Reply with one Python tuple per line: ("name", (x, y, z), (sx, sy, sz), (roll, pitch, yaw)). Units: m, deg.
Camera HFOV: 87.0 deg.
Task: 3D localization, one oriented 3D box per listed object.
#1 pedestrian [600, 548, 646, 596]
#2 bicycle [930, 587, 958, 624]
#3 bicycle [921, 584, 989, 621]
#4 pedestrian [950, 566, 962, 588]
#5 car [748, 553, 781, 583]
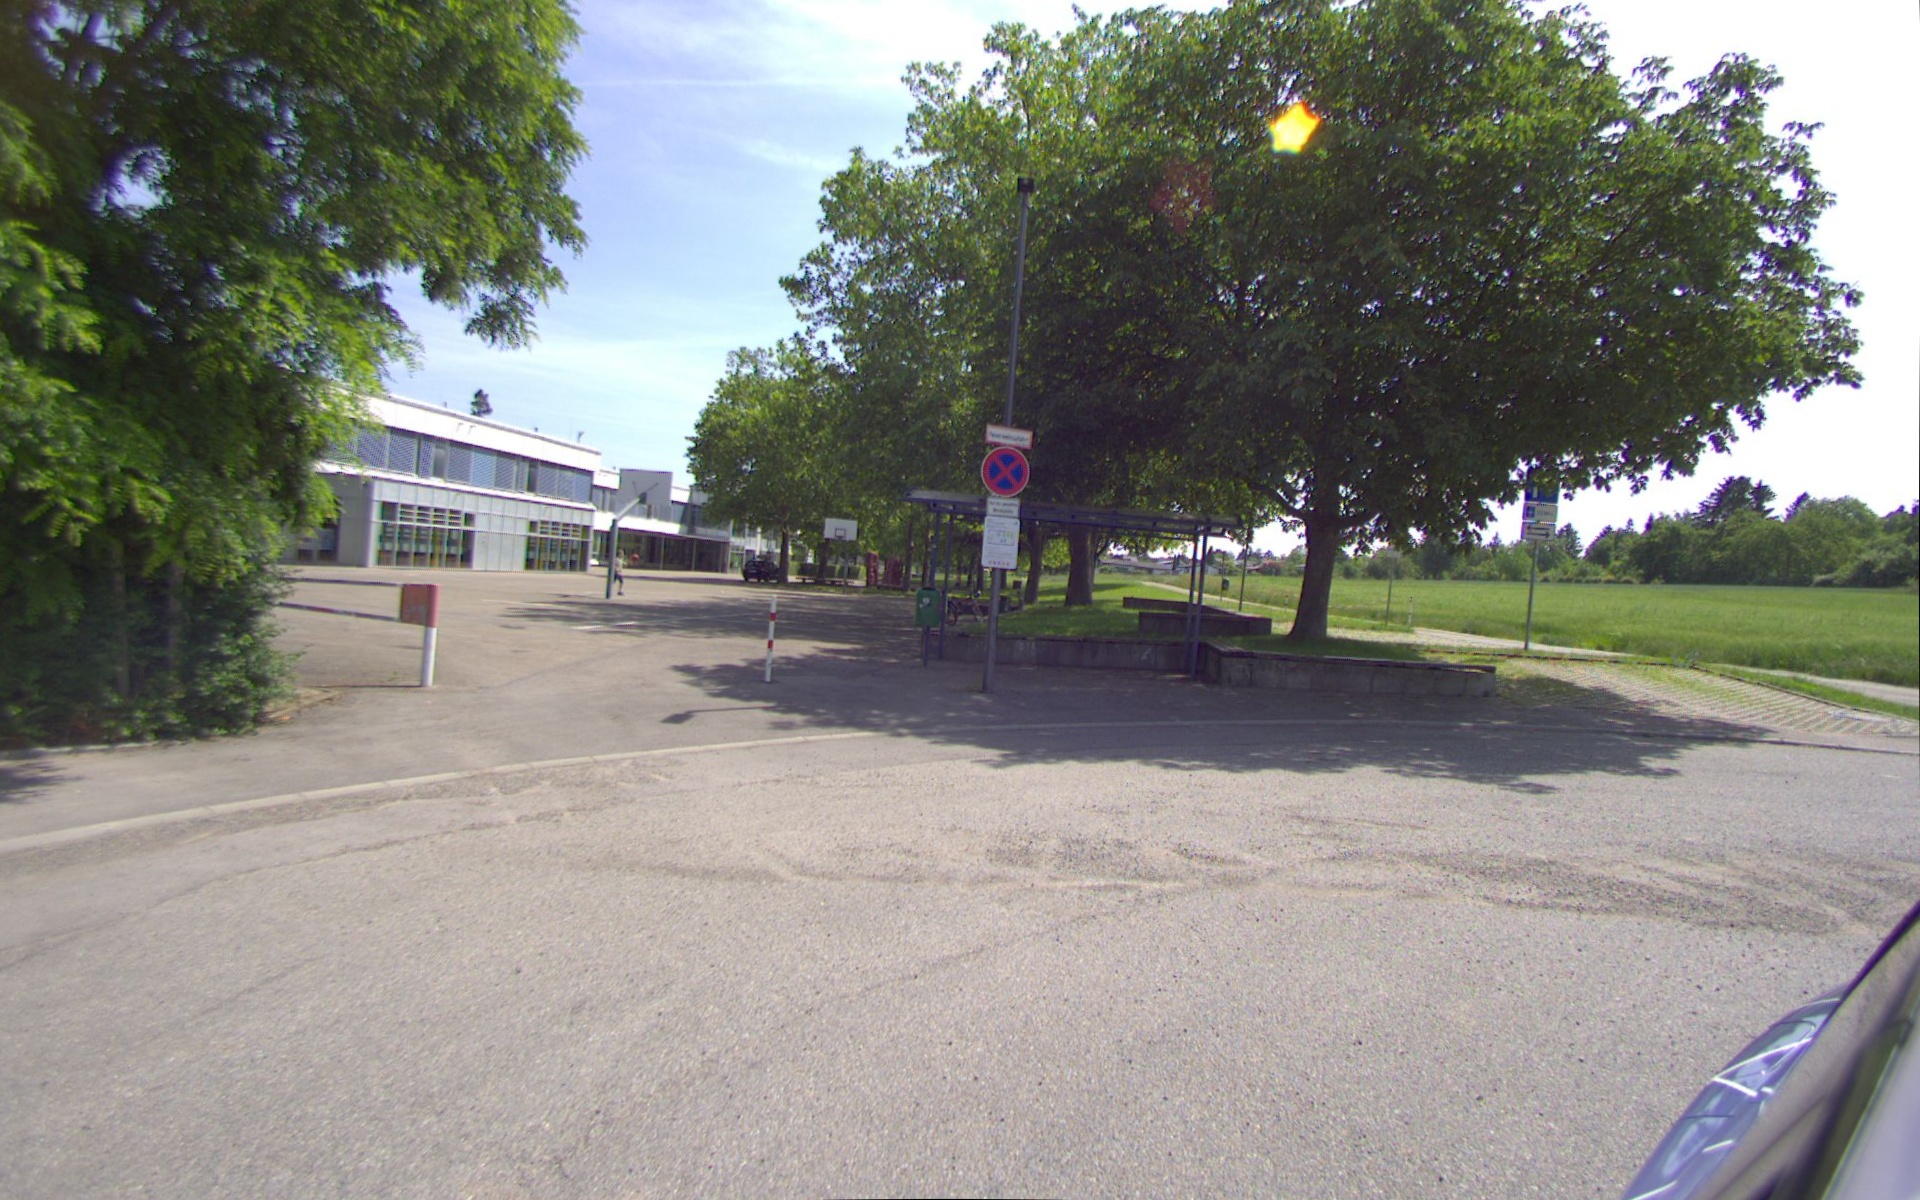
("pedestrian", (-10.756, -0.896, 32.289), (1.050, 1.441, 0.919), (4, 0, 3))
("bicycle", (-0.452, 0.144, 29.750), (0.586, 1.052, 1.890), (2, 1, 6))
("bicycle", (-0.157, 0.083, 31.763), (2.026, 1.052, 0.573), (2, 1, -9))
("pedestrian", (-0.395, -2.182, 95.995), (0.817, 2.039, 0.693), (4, 0, -17))
("car", (-13.164, -2.129, 68.215), (1.663, 1.857, 3.414), (3, 1, -4))
